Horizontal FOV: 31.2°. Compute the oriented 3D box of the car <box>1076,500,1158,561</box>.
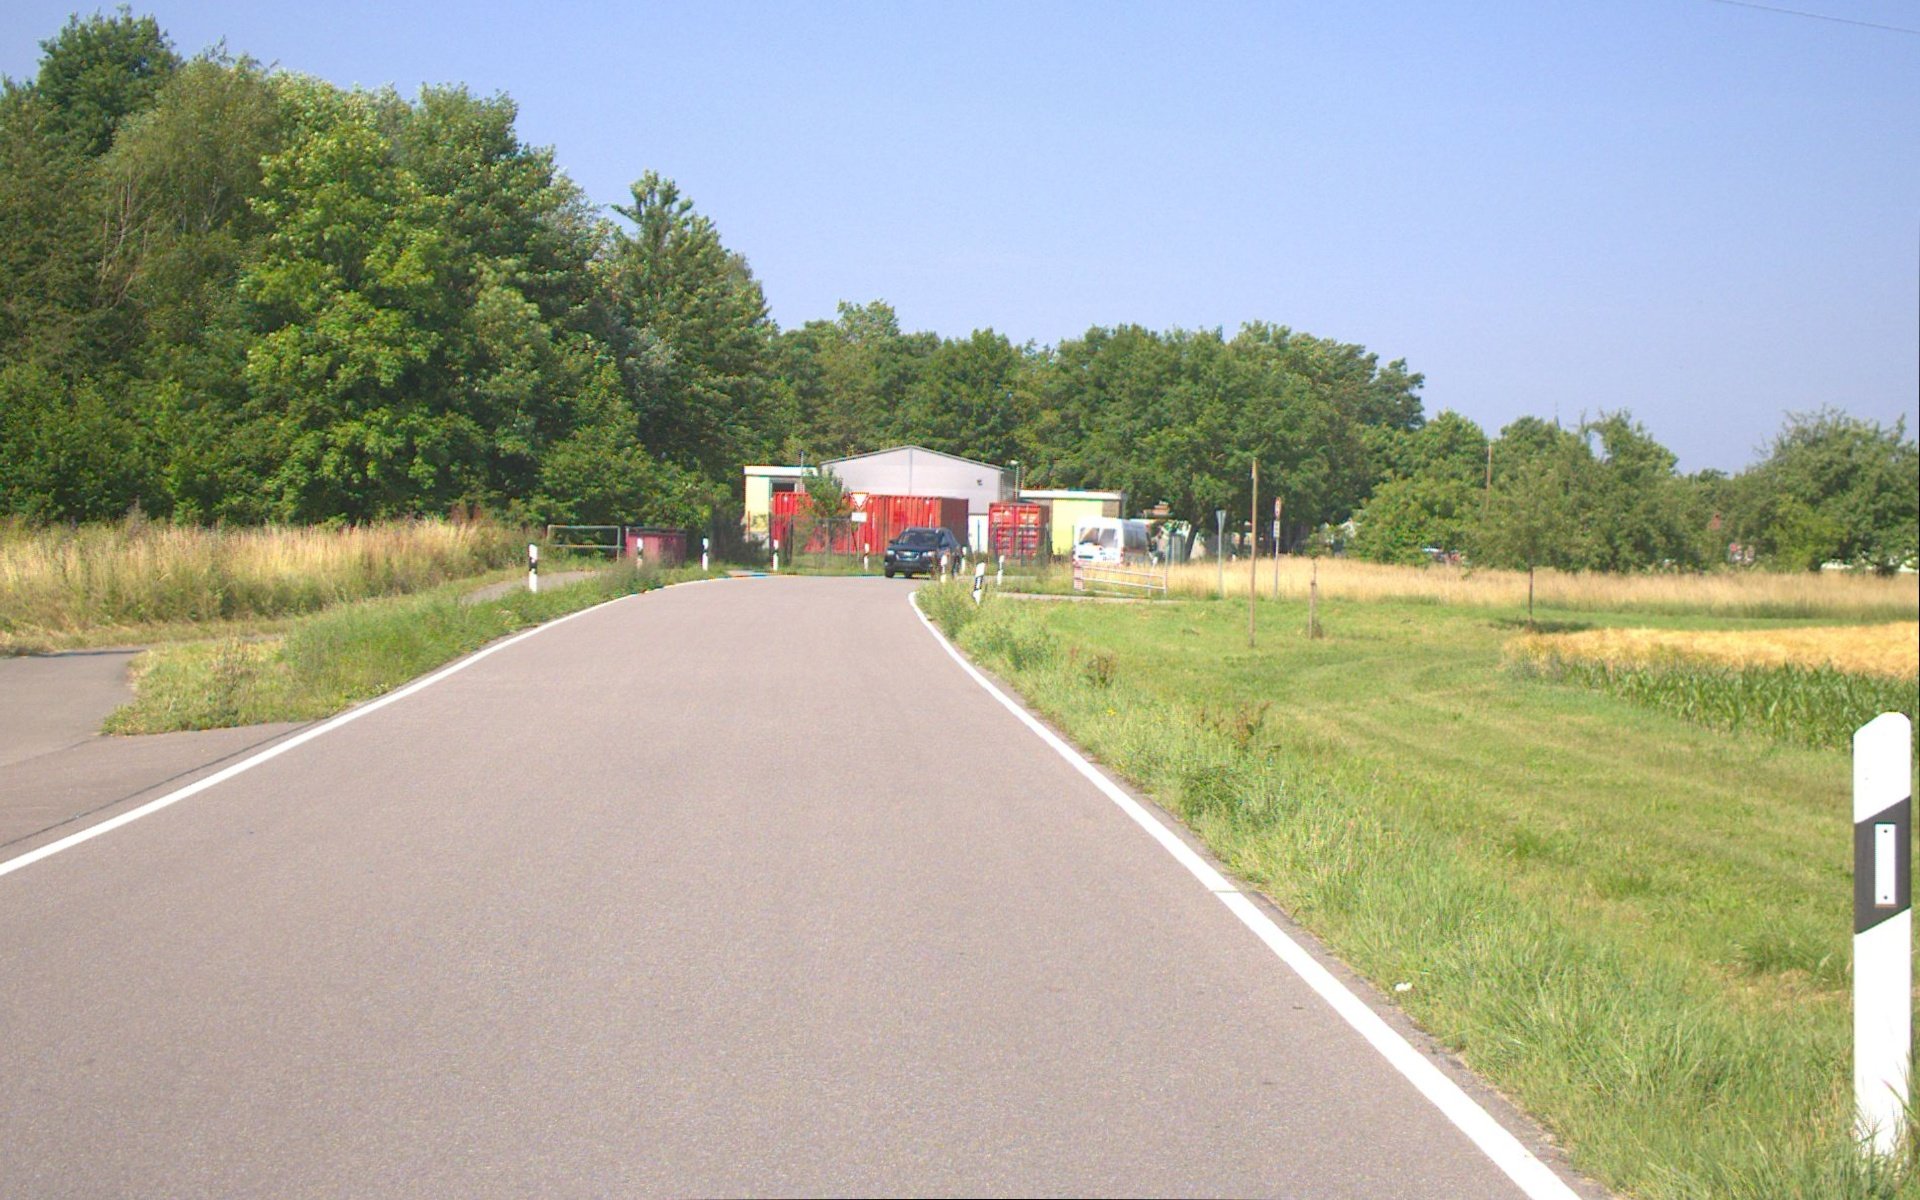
[{"bbox_3d":[6.112,-2.675,133.118,1.995,2.258,4.722,2,1,17],"label":"car"}]

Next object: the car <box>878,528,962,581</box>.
[{"bbox_3d":[-1.367,-1.592,118.852,1.867,1.747,4.294,2,1,14],"label":"car"}]
